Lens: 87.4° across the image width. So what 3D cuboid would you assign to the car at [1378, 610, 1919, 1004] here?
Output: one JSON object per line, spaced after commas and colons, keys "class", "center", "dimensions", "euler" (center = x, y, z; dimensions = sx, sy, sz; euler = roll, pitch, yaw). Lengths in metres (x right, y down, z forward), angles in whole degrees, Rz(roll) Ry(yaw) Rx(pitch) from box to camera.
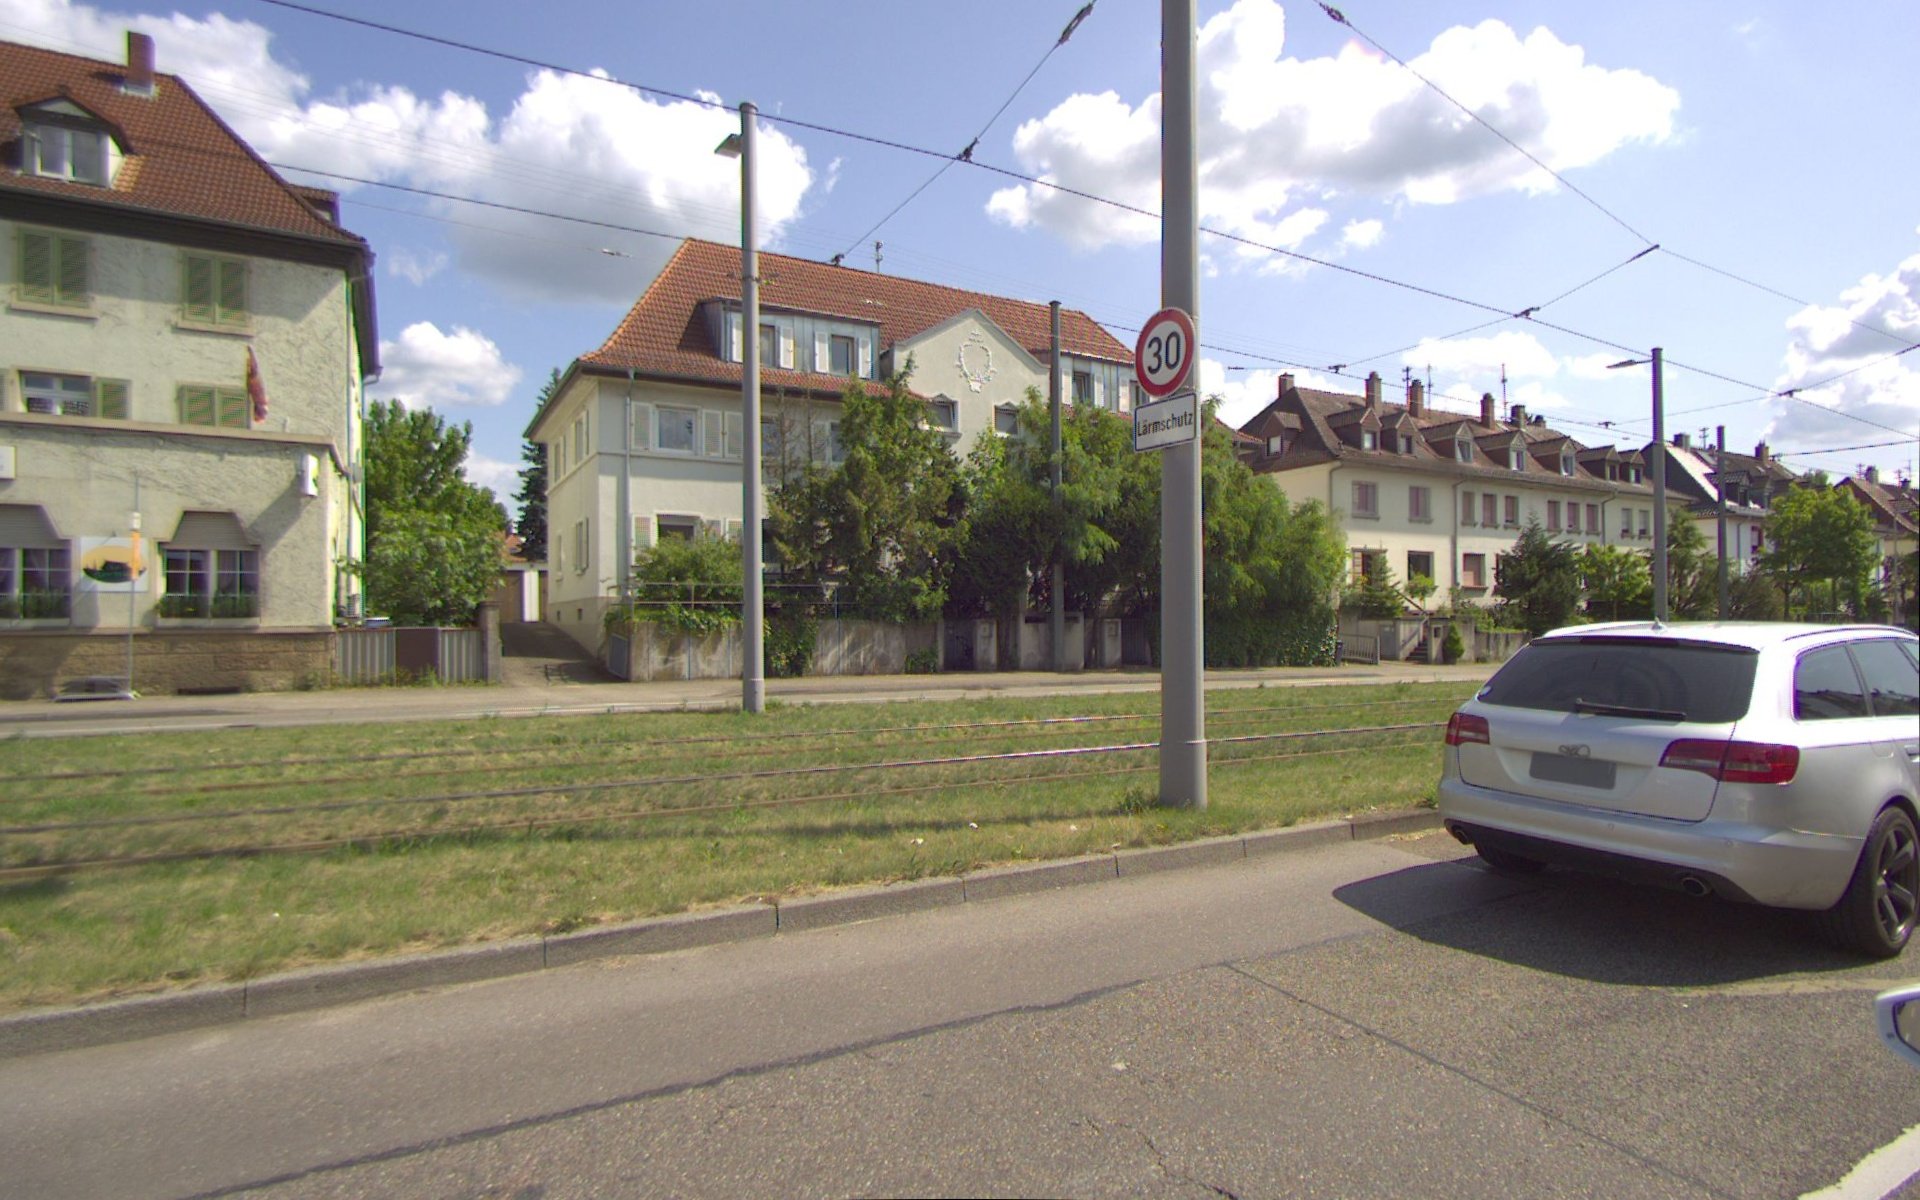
{"class": "car", "center": [4.692, 0.836, 5.779], "dimensions": [4.666, 1.491, 1.786], "euler": [1, -1, -30]}
